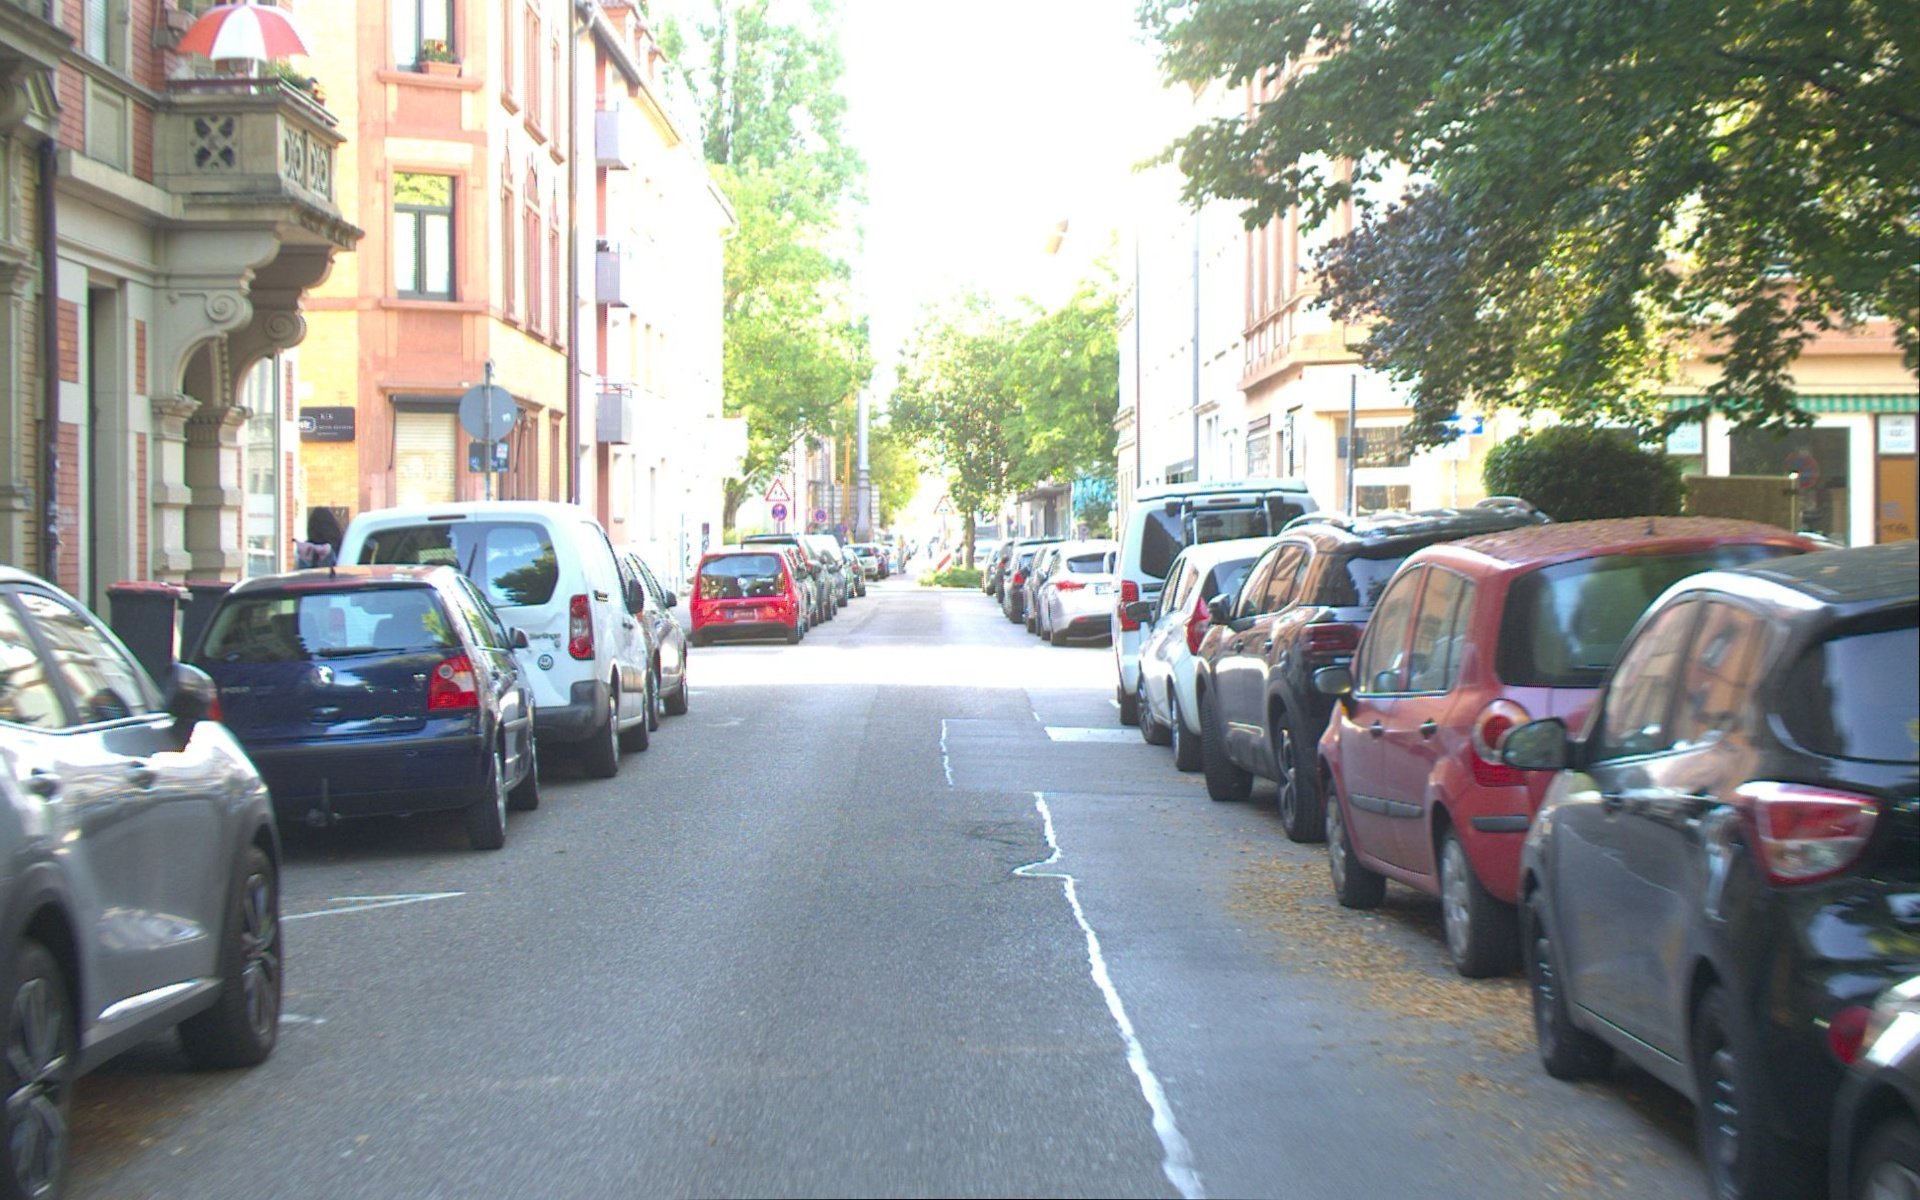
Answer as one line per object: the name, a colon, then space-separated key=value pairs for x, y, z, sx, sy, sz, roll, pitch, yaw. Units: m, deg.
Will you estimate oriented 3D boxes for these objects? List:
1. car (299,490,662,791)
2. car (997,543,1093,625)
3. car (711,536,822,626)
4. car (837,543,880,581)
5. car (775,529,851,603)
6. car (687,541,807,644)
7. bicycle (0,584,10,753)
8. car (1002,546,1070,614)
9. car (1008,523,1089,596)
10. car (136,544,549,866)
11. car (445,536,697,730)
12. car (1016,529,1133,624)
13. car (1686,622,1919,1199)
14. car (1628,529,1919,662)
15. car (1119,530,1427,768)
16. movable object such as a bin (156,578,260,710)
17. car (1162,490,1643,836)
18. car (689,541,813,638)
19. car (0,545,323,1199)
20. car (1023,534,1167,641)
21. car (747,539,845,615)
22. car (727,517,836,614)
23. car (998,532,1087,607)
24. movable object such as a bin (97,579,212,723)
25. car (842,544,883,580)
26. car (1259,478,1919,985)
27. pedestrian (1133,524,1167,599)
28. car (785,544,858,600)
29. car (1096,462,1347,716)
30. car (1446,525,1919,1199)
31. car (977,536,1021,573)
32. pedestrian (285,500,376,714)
car: x=-3.162 y=0.206 z=23.545 sx=1.831 sy=1.805 sz=4.572 roll=-2 pitch=1 yaw=0
car: x=1.632 y=-0.340 z=67.366 sx=1.676 sy=1.501 sz=3.938 roll=-2 pitch=1 yaw=-1
car: x=-3.479 y=-0.372 z=62.361 sx=1.656 sy=1.516 sz=3.944 roll=-2 pitch=1 yaw=1
car: x=-4.167 y=-1.570 z=141.235 sx=1.676 sy=1.482 sz=4.095 roll=-2 pitch=1 yaw=-1
car: x=-3.701 y=-0.887 z=87.019 sx=1.765 sy=1.779 sz=4.039 roll=-2 pitch=1 yaw=-1
car: x=-3.231 y=-0.142 z=52.744 sx=1.628 sy=1.476 sz=3.601 roll=-2 pitch=1 yaw=-1
bicycle: x=-6.166 y=0.424 z=20.461 sx=0.571 sy=1.038 sz=1.546 roll=2 pitch=1 yaw=-1
car: x=1.954 y=-0.513 z=89.351 sx=1.676 sy=1.676 sz=4.094 roll=-2 pitch=0 yaw=1
car: x=2.139 y=-0.994 z=84.022 sx=1.676 sy=1.621 sz=4.251 roll=-4 pitch=1 yaw=-1
car: x=-3.238 y=0.479 z=18.710 sx=1.692 sy=1.509 sz=3.974 roll=-2 pitch=1 yaw=-3
car: x=-3.207 y=0.219 z=28.976 sx=1.692 sy=1.476 sz=3.973 roll=-2 pitch=1 yaw=-1
car: x=1.900 y=-0.421 z=58.069 sx=1.744 sy=1.501 sz=4.021 roll=-2 pitch=1 yaw=-1
car: x=2.364 y=0.735 z=4.044 sx=1.675 sy=1.436 sz=4.696 roll=-4 pitch=0 yaw=-3
car: x=10.446 y=-0.046 z=43.160 sx=3.920 sy=1.602 sz=1.761 roll=1 pitch=-1 yaw=7
car: x=2.154 y=0.292 z=24.571 sx=1.719 sy=1.565 sz=3.829 roll=0 pitch=1 yaw=-2
movable object such as a bin: x=-6.161 y=0.355 z=28.199 sx=0.637 sy=1.038 sz=0.856 roll=2 pitch=1 yaw=0
car: x=2.337 y=0.308 z=19.290 sx=1.739 sy=1.597 sz=4.265 roll=-4 pitch=0 yaw=-4
car: x=-3.460 y=-0.203 z=57.540 sx=1.695 sy=1.516 sz=4.096 roll=-2 pitch=1 yaw=1
car: x=-2.921 y=0.644 z=8.976 sx=1.766 sy=1.509 sz=4.194 roll=-2 pitch=1 yaw=-1
car: x=2.006 y=-0.220 z=52.124 sx=1.743 sy=1.501 sz=4.358 roll=-2 pitch=1 yaw=-3
car: x=-3.455 y=-0.512 z=73.066 sx=1.743 sy=1.501 sz=4.346 roll=-2 pitch=1 yaw=1
car: x=-3.481 y=-0.704 z=67.854 sx=1.743 sy=1.805 sz=4.672 roll=-2 pitch=1 yaw=1
car: x=1.706 y=-0.663 z=72.461 sx=1.676 sy=1.501 sz=3.938 roll=-2 pitch=1 yaw=-1
movable object such as a bin: x=-6.072 y=0.374 z=25.955 sx=0.637 sy=1.038 sz=0.856 roll=2 pitch=1 yaw=0
car: x=-4.128 y=-1.631 z=146.352 sx=1.676 sy=1.482 sz=4.095 roll=-2 pitch=1 yaw=-1
car: x=2.369 y=0.444 z=13.742 sx=1.618 sy=1.619 sz=3.864 roll=-4 pitch=0 yaw=-4
pedestrian: x=4.230 y=-0.852 z=76.548 sx=0.685 sy=1.654 sz=0.717 roll=-1 pitch=1 yaw=0
car: x=-3.843 y=-0.794 z=95.900 sx=1.670 sy=1.464 sz=3.820 roll=-2 pitch=1 yaw=3
car: x=2.199 y=-0.135 z=30.059 sx=1.914 sy=1.991 sz=4.792 roll=-2 pitch=1 yaw=2
car: x=2.386 y=0.571 z=8.800 sx=1.619 sy=1.481 sz=3.776 roll=-4 pitch=0 yaw=0
car: x=1.606 y=-1.898 z=142.629 sx=1.676 sy=1.482 sz=3.638 roll=-2 pitch=1 yaw=-1
pedestrian: x=-4.903 y=0.063 z=26.813 sx=0.548 sy=1.639 sz=0.717 roll=1 pitch=-1 yaw=0
